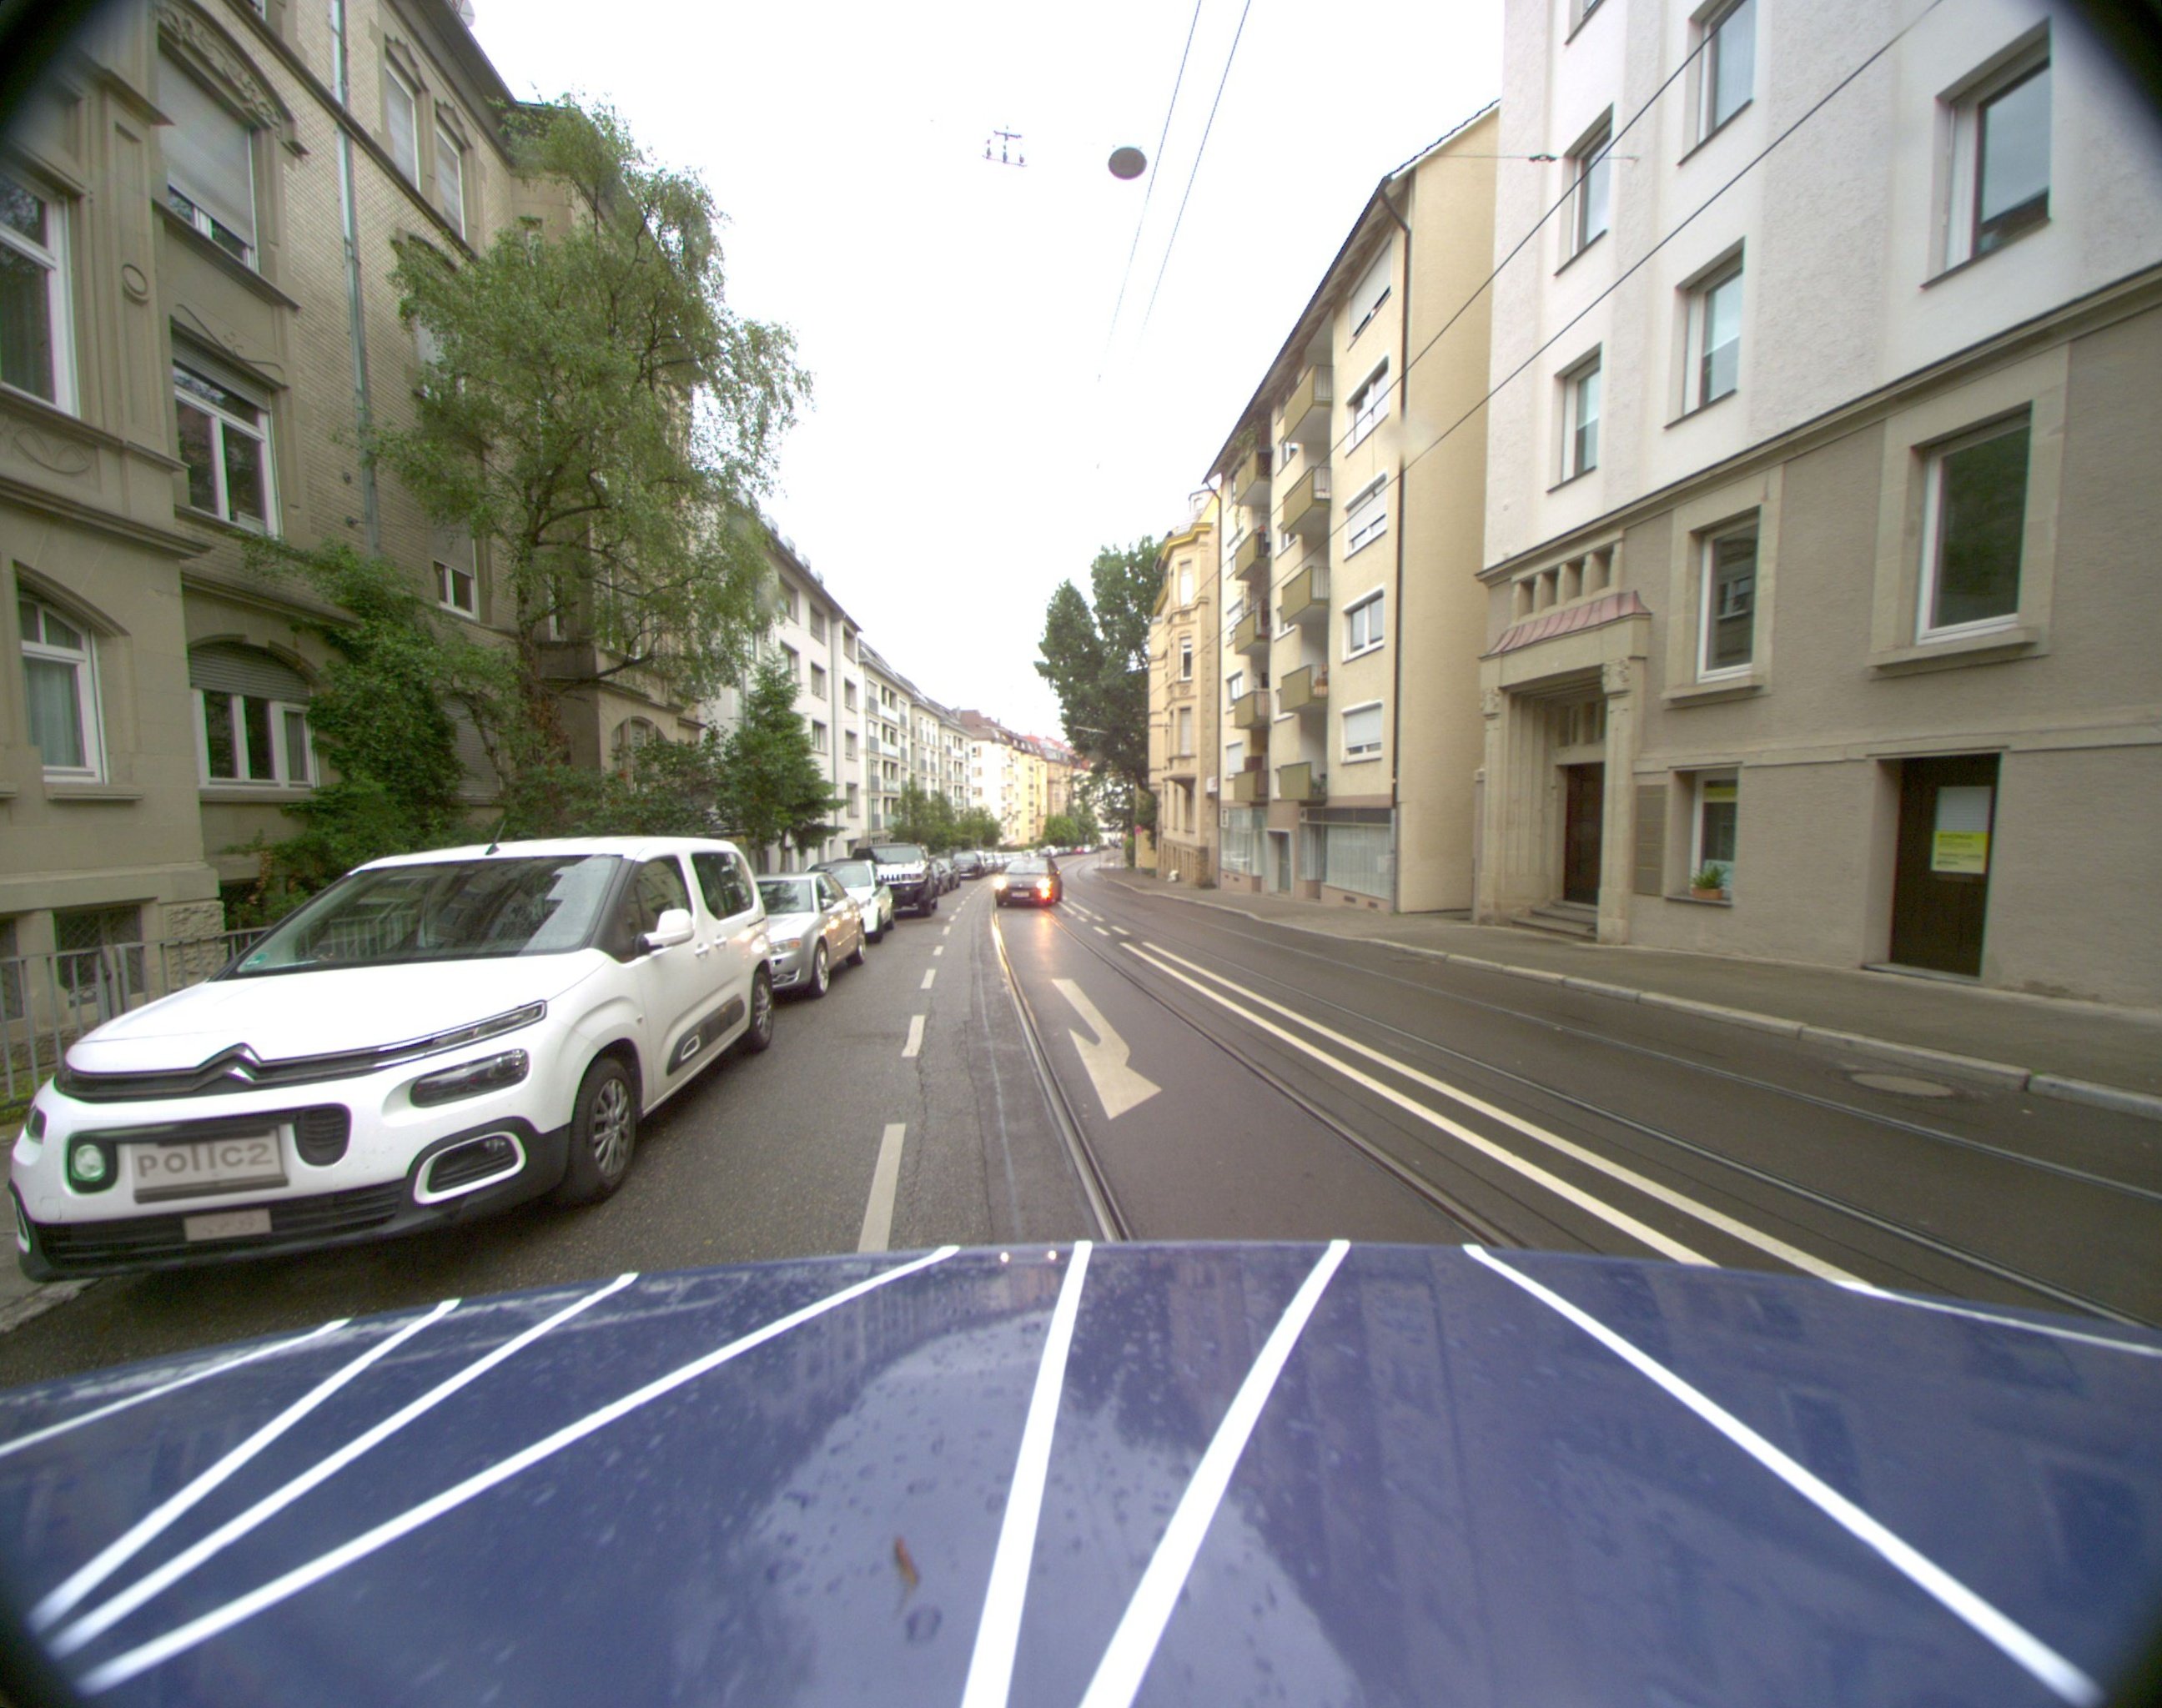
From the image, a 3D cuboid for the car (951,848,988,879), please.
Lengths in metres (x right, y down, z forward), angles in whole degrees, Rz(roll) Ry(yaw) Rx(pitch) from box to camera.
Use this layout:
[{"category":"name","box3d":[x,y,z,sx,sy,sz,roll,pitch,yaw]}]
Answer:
[{"category":"car","box3d":[-7.163,0.579,49.194,1.948,1.785,4.818,-2,1,-4]}]

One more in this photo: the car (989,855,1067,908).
[{"category":"car","box3d":[-1.549,0.789,23.691,1.738,1.445,4.001,-1,0,6]}]

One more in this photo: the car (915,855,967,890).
[{"category":"car","box3d":[-6.498,0.825,35.722,1.799,1.429,4.609,-2,1,-3]}]

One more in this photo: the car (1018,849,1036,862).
[{"category":"car","box3d":[-6.270,0.113,88.985,1.600,1.416,3.515,-1,1,4]}]

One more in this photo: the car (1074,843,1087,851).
[{"category":"car","box3d":[-0.118,-1.246,131.099,1.556,1.360,3.126,-1,2,13]}]

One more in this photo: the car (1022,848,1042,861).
[{"category":"car","box3d":[-5.947,0.002,93.409,1.721,1.459,4.391,-1,1,6]}]

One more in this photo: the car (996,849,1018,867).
[{"category":"car","box3d":[-7.016,0.374,71.911,1.981,1.576,4.563,-1,1,-5]}]

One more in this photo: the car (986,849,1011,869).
[{"category":"car","box3d":[-7.183,0.409,66.387,1.837,1.618,4.662,-1,1,-2]}]

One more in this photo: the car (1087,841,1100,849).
[{"category":"car","box3d":[2.355,-1.731,144.345,1.612,1.434,3.690,-1,2,13]}]

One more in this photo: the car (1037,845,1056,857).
[{"category":"car","box3d":[-4.677,-0.442,104.528,1.797,1.444,4.104,-2,2,9]}]

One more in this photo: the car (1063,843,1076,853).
[{"category":"car","box3d":[-1.860,-0.996,123.912,1.658,1.360,3.637,-2,2,8]}]

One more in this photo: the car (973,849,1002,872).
[{"category":"car","box3d":[-7.435,0.470,60.802,1.837,1.647,4.685,-1,1,-1]}]

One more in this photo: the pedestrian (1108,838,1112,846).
[{"category":"pedestrian","box3d":[6.348,-2.670,166.183,0.649,1.652,0.650,0,1,4]}]

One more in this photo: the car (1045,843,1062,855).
[{"category":"car","box3d":[-3.946,-0.680,109.748,1.798,1.613,3.868,-2,2,6]}]

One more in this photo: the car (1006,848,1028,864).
[{"category":"car","box3d":[-6.836,0.200,81.672,1.862,1.507,4.789,-1,1,2]}]

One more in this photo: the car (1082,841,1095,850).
[{"category":"car","box3d":[1.409,-1.578,139.802,1.612,1.434,3.690,-1,2,13]}]

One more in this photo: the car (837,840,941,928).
[{"category":"car","box3d":[-5.111,0.694,21.000,2.135,2.002,5.346,-3,1,-8]}]

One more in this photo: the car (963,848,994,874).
[{"category":"car","box3d":[-7.380,0.493,54.856,1.783,1.785,4.469,-1,1,-3]}]

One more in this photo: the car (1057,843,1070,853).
[{"category":"car","box3d":[-2.726,-0.877,118.770,1.590,1.434,3.477,-2,2,6]}]

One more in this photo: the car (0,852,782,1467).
[{"category":"car","box3d":[-3.289,0.913,4.481,1.803,1.755,4.459,-3,1,-9]}]

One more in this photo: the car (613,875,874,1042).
[{"category":"car","box3d":[-3.934,1.092,9.772,1.754,1.392,4.475,-3,1,-7]}]

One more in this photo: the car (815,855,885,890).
[{"category":"car","box3d":[-10.754,0.831,35.701,1.817,1.418,4.153,-3,1,2]}]

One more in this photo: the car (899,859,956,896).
[{"category":"car","box3d":[-6.200,0.907,31.054,1.683,1.330,3.881,-2,1,-3]}]

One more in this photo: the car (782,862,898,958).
[{"category":"car","box3d":[-4.608,0.986,15.002,1.565,1.537,3.581,-3,1,-9]}]
